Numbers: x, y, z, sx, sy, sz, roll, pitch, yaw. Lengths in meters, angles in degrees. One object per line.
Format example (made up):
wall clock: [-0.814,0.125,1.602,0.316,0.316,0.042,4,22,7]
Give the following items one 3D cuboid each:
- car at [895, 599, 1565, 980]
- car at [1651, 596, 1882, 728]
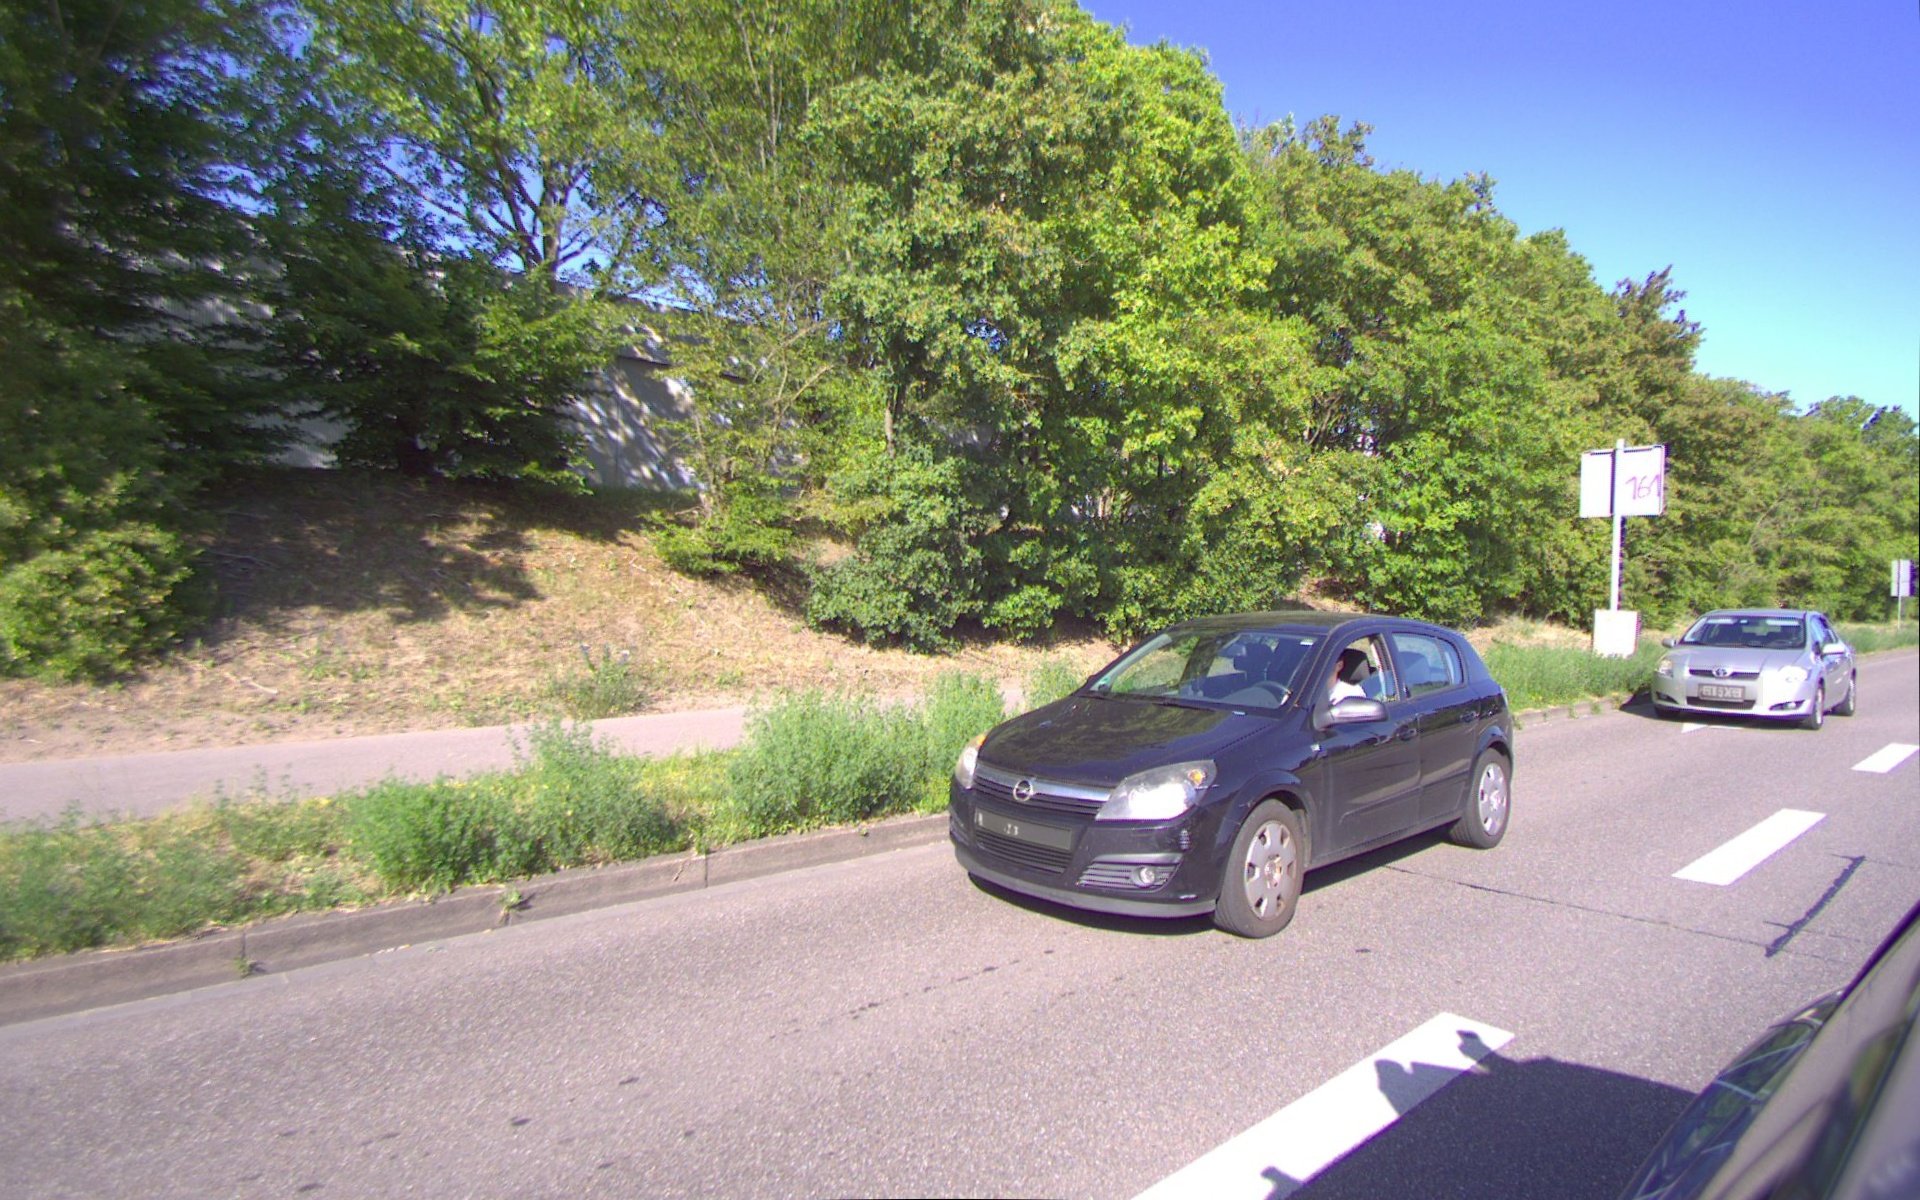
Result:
car: [1.843,0.731,5.988,4.295,1.460,1.737,0,0,-41]
car: [11.170,0.739,13.927,4.036,1.556,1.786,1,0,-41]
